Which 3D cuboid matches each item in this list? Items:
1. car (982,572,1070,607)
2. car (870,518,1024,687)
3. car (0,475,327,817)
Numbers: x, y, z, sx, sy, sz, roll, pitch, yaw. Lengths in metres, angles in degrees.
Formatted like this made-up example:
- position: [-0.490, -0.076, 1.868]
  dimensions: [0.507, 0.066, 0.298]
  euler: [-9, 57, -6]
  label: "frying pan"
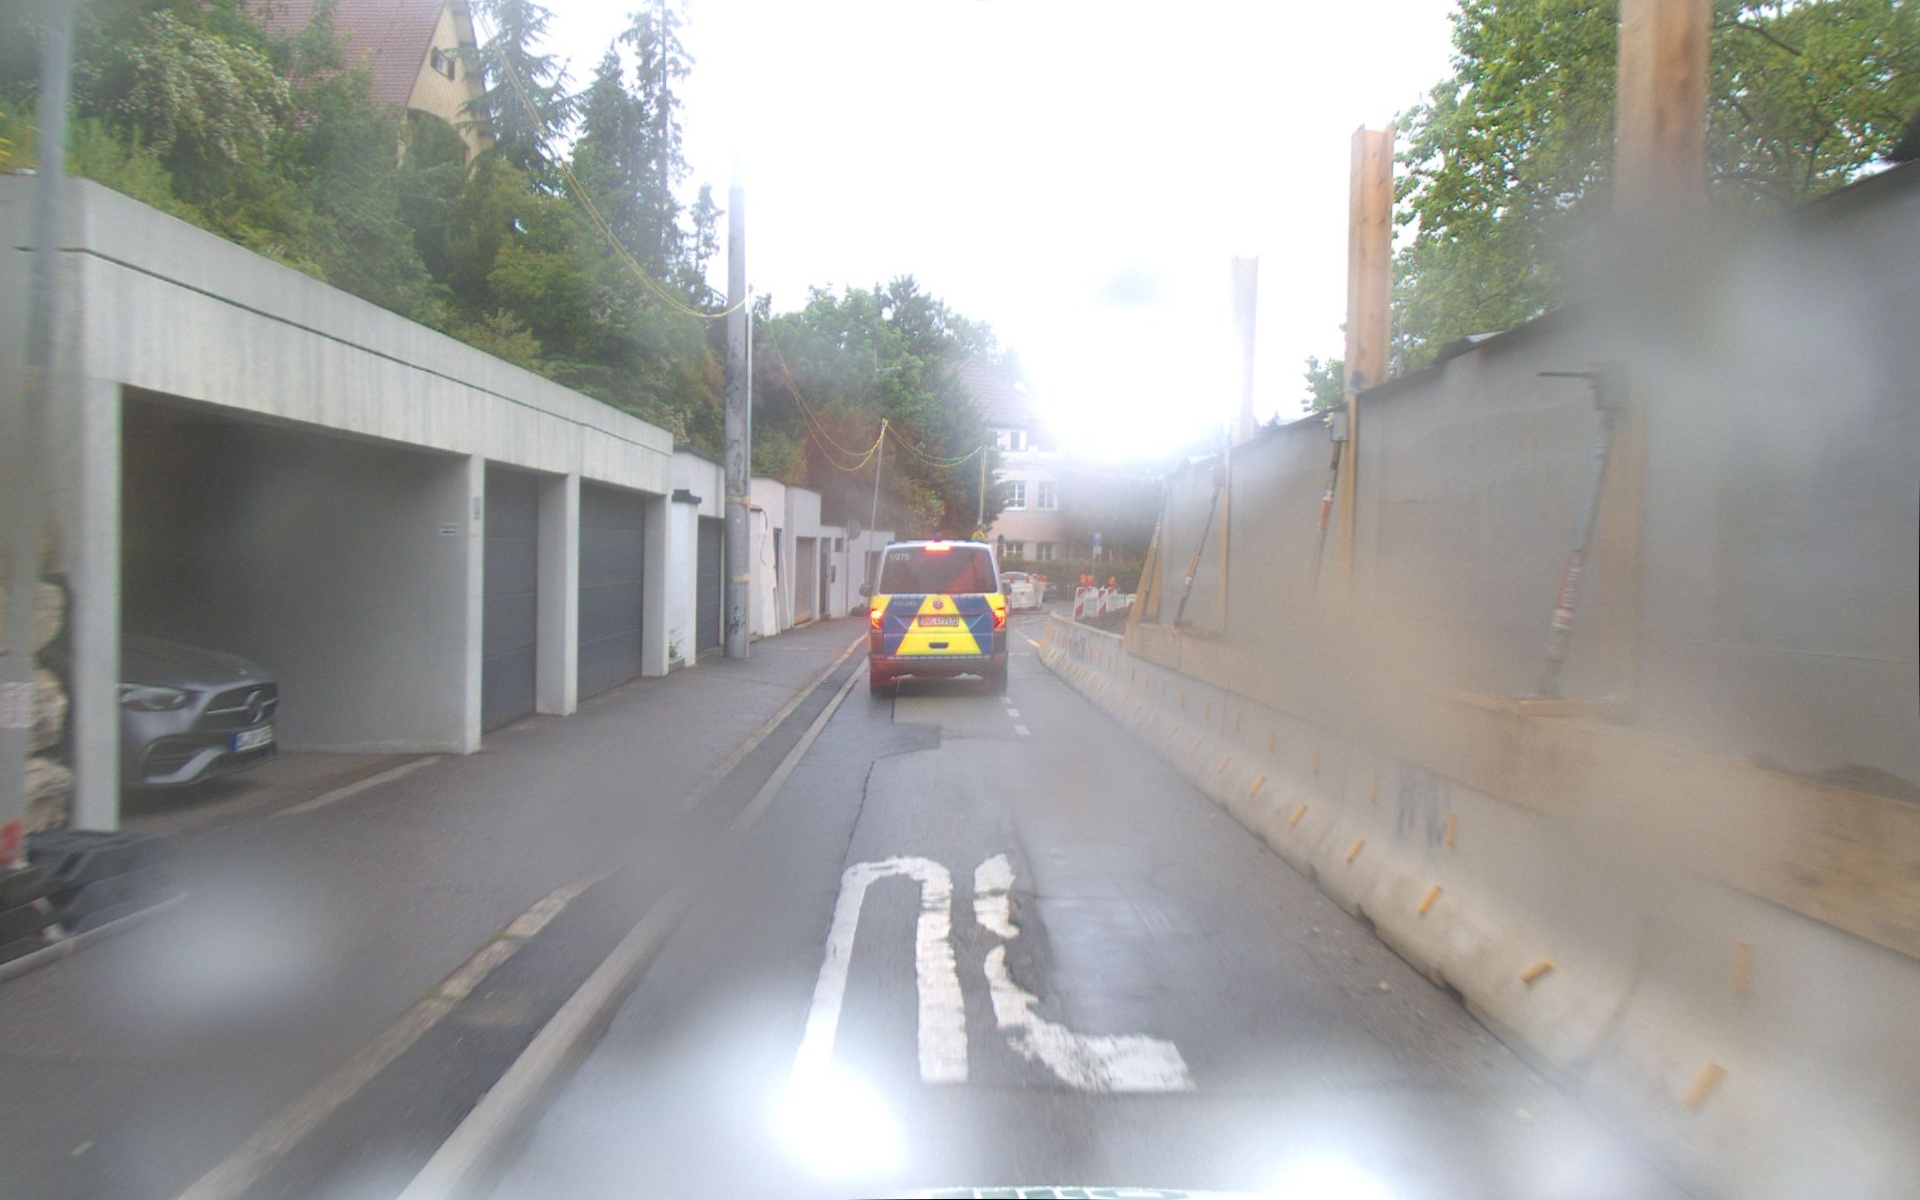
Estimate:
- position: [3.196, -0.502, 80.359]
  dimensions: [3.912, 1.544, 1.725]
  euler: [2, 0, 29]
  label: "car"
- position: [-0.222, 0.024, 22.977]
  dimensions: [1.869, 2.045, 4.438]
  euler: [2, 0, -2]
  label: "car"
- position: [-6.247, 0.166, 9.549]
  dimensions: [4.312, 1.735, 2.110]
  euler: [2, 0, -2]
  label: "car"
